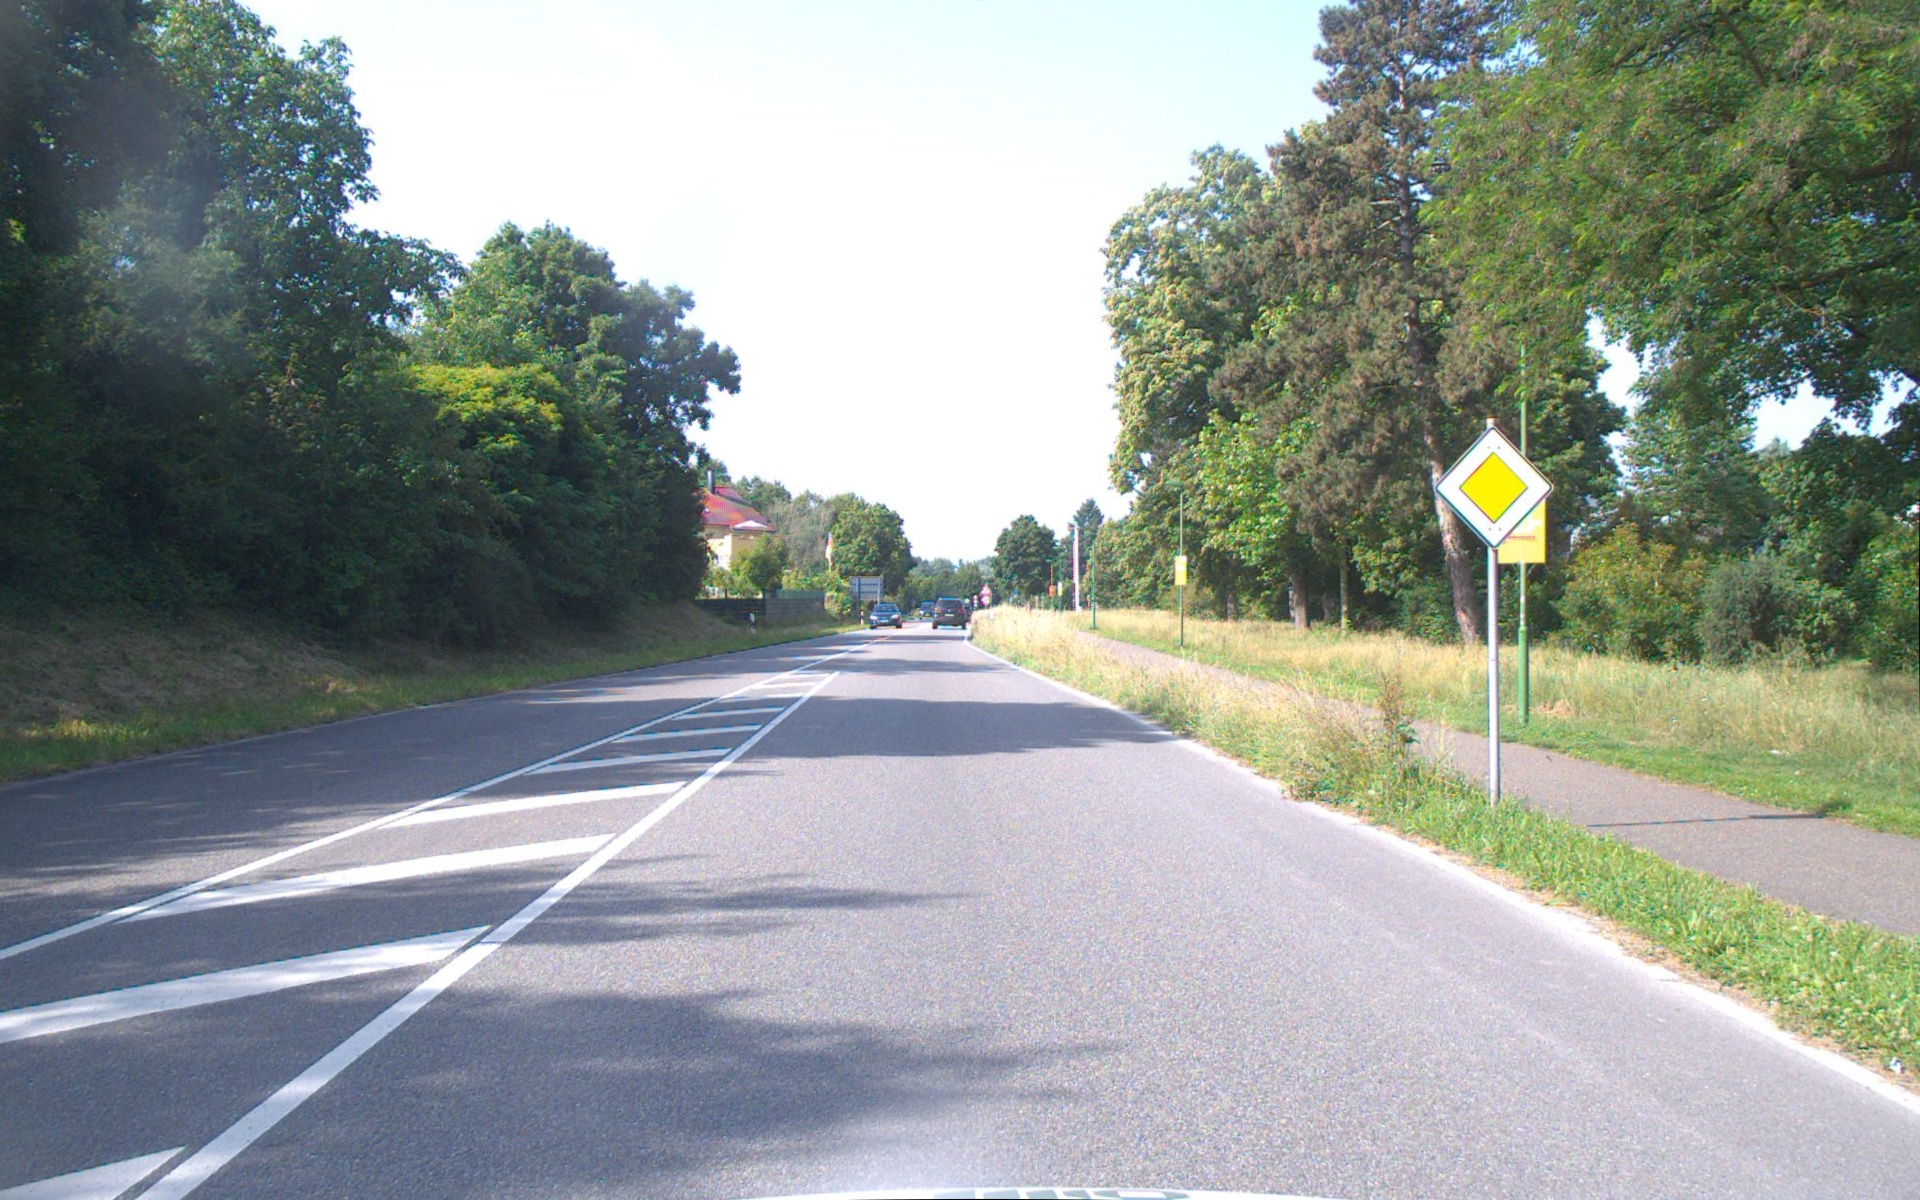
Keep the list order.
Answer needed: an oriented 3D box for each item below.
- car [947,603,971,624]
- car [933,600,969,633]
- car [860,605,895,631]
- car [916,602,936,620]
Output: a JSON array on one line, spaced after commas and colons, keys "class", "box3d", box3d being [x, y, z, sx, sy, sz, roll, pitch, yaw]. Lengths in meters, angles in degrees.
[{"class": "car", "box3d": [-0.107, 1.015, 128.098, 1.701, 1.542, 3.912, 0, 0, -3]}, {"class": "car", "box3d": [-0.526, 0.922, 92.618, 1.886, 1.802, 3.999, 0, 0, -2]}, {"class": "car", "box3d": [-4.929, 1.049, 98.856, 1.832, 1.448, 4.576, -2, 0, -1]}, {"class": "car", "box3d": [-3.631, 1.150, 175.652, 1.901, 1.849, 4.239, -2, 0, -3]}]
